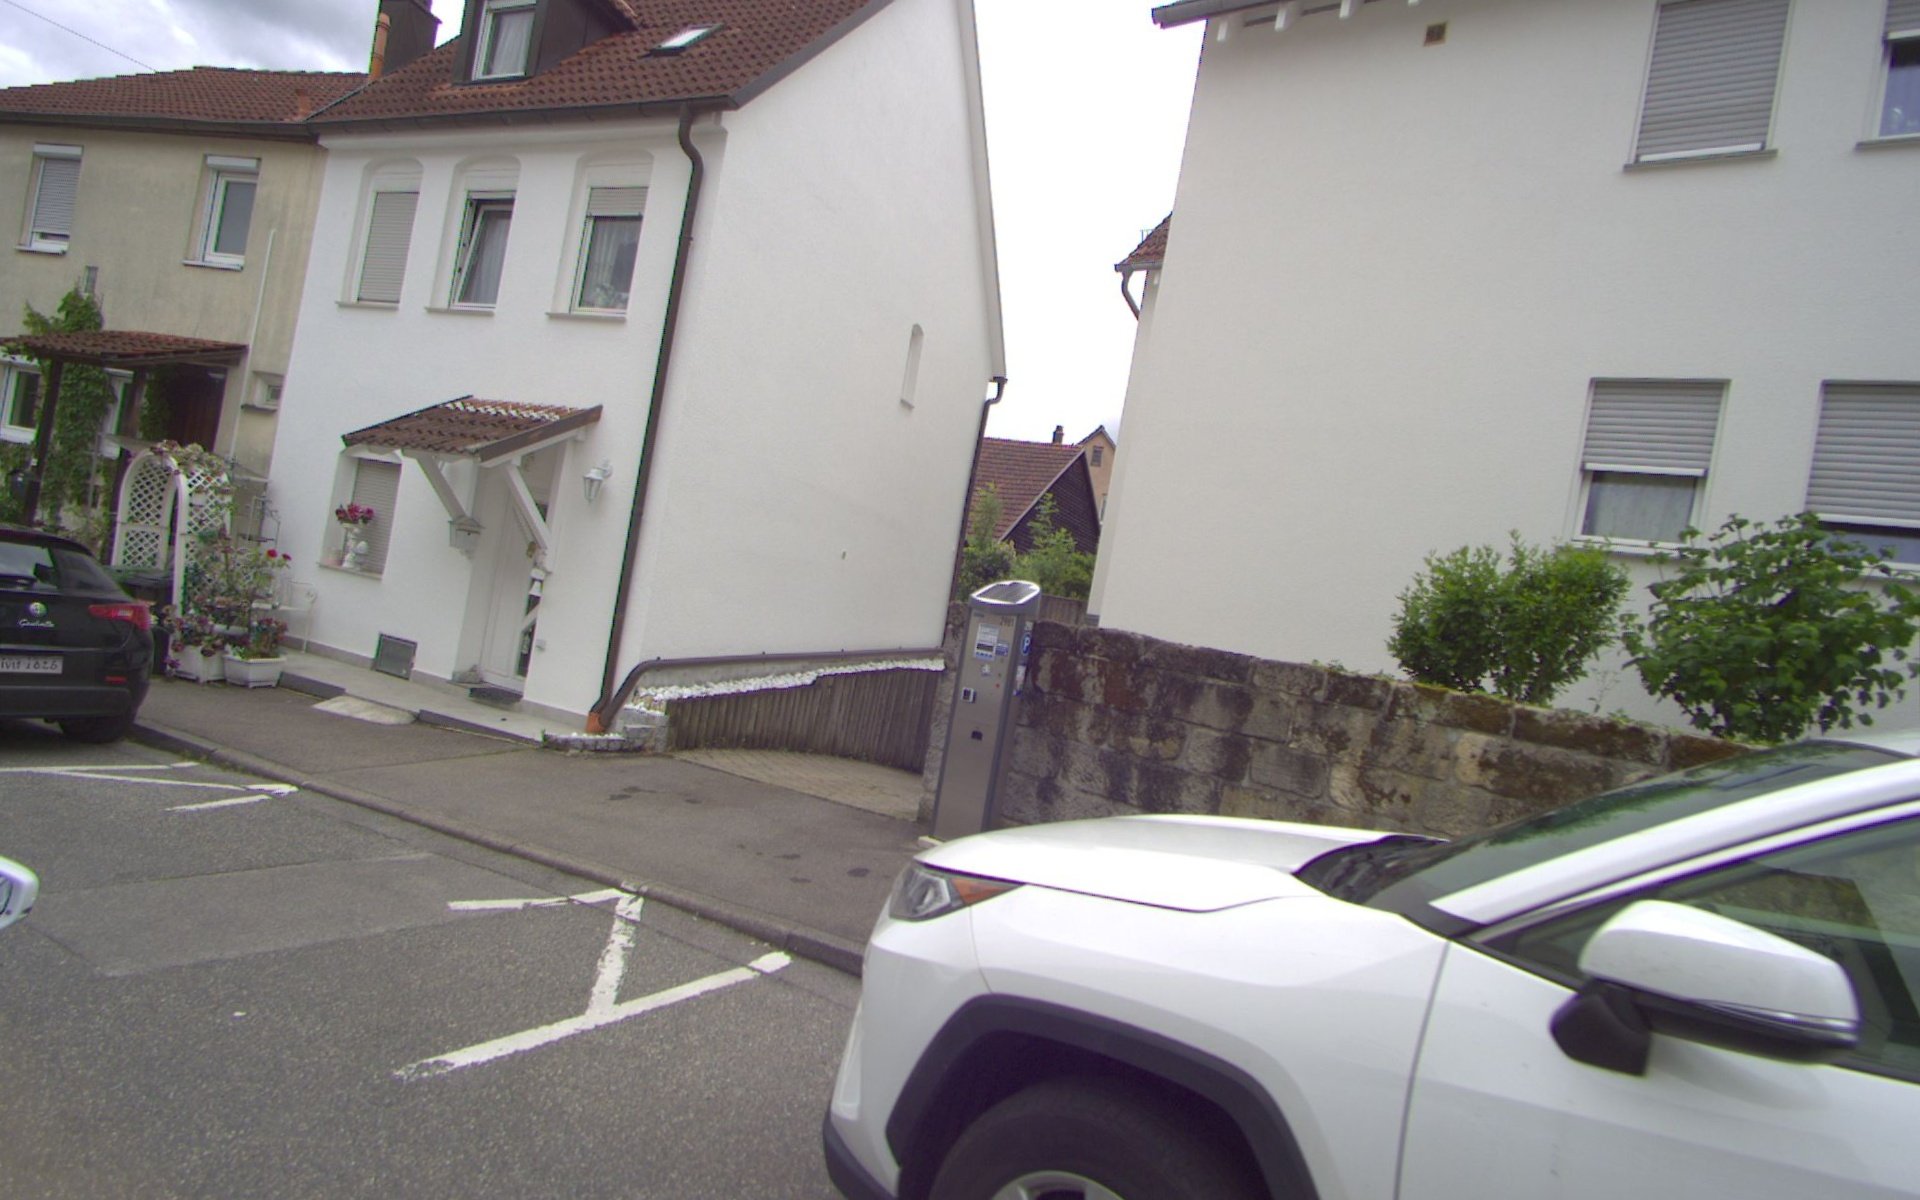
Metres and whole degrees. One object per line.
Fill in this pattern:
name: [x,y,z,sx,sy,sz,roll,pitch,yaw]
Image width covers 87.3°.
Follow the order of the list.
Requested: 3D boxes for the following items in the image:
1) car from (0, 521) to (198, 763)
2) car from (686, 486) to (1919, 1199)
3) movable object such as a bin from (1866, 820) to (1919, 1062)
car: [-7.444,0.047,6.763,3.928,1.422,1.726,7,-3,20]
car: [1.844,0.943,1.837,4.388,1.657,1.951,8,-3,33]
movable object such as a bin: [4.863,1.666,4.791,0.610,1.051,0.603,7,0,32]
